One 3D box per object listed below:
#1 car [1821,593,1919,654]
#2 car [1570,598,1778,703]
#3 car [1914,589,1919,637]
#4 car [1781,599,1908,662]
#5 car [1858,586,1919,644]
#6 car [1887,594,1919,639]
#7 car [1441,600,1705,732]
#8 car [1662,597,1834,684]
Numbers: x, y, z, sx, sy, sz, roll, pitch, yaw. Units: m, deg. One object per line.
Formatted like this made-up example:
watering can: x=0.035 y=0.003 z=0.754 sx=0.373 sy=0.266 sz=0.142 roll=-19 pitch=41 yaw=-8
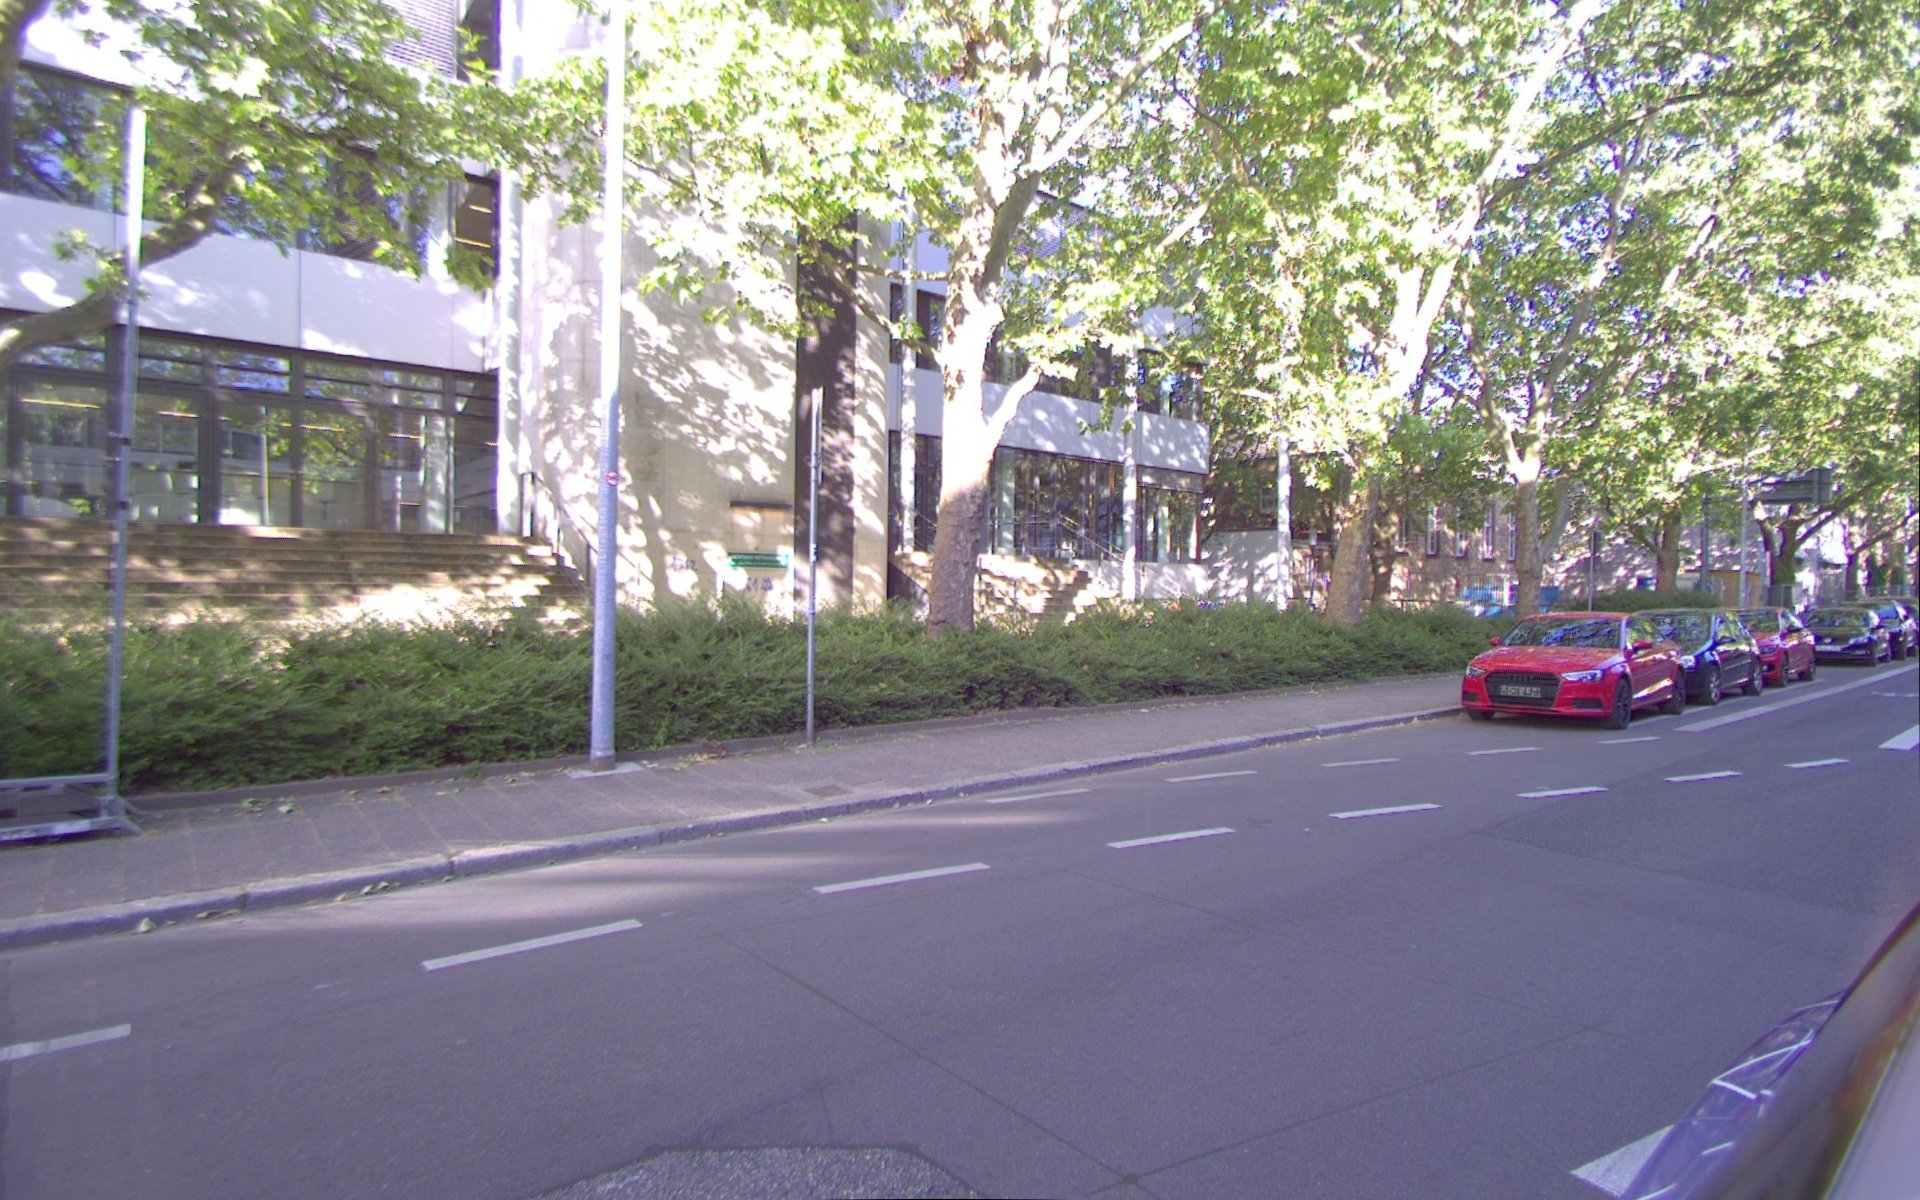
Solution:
car: x=26.530 y=0.610 z=29.177 sx=4.070 sy=1.621 sz=1.997 roll=-1 pitch=0 yaw=-41
car: x=11.780 y=0.730 z=16.641 sx=3.581 sy=1.478 sz=1.997 roll=-1 pitch=1 yaw=-41
car: x=39.648 y=0.486 z=40.331 sx=3.930 sy=1.872 sz=1.997 roll=-1 pitch=0 yaw=-41
car: x=22.808 y=0.725 z=26.058 sx=3.527 sy=1.474 sz=1.997 roll=-1 pitch=1 yaw=-41
car: x=31.272 y=0.451 z=33.308 sx=4.493 sy=1.809 sz=1.997 roll=-1 pitch=0 yaw=-41
car: x=35.940 y=0.594 z=37.439 sx=4.070 sy=1.585 sz=1.997 roll=-1 pitch=0 yaw=-41
car: x=8.265 y=0.753 z=13.521 sx=3.930 sy=1.443 sz=1.906 roll=-1 pitch=1 yaw=-41
car: x=15.652 y=0.719 z=20.047 sx=3.762 sy=1.517 sz=1.997 roll=-1 pitch=1 yaw=-41
